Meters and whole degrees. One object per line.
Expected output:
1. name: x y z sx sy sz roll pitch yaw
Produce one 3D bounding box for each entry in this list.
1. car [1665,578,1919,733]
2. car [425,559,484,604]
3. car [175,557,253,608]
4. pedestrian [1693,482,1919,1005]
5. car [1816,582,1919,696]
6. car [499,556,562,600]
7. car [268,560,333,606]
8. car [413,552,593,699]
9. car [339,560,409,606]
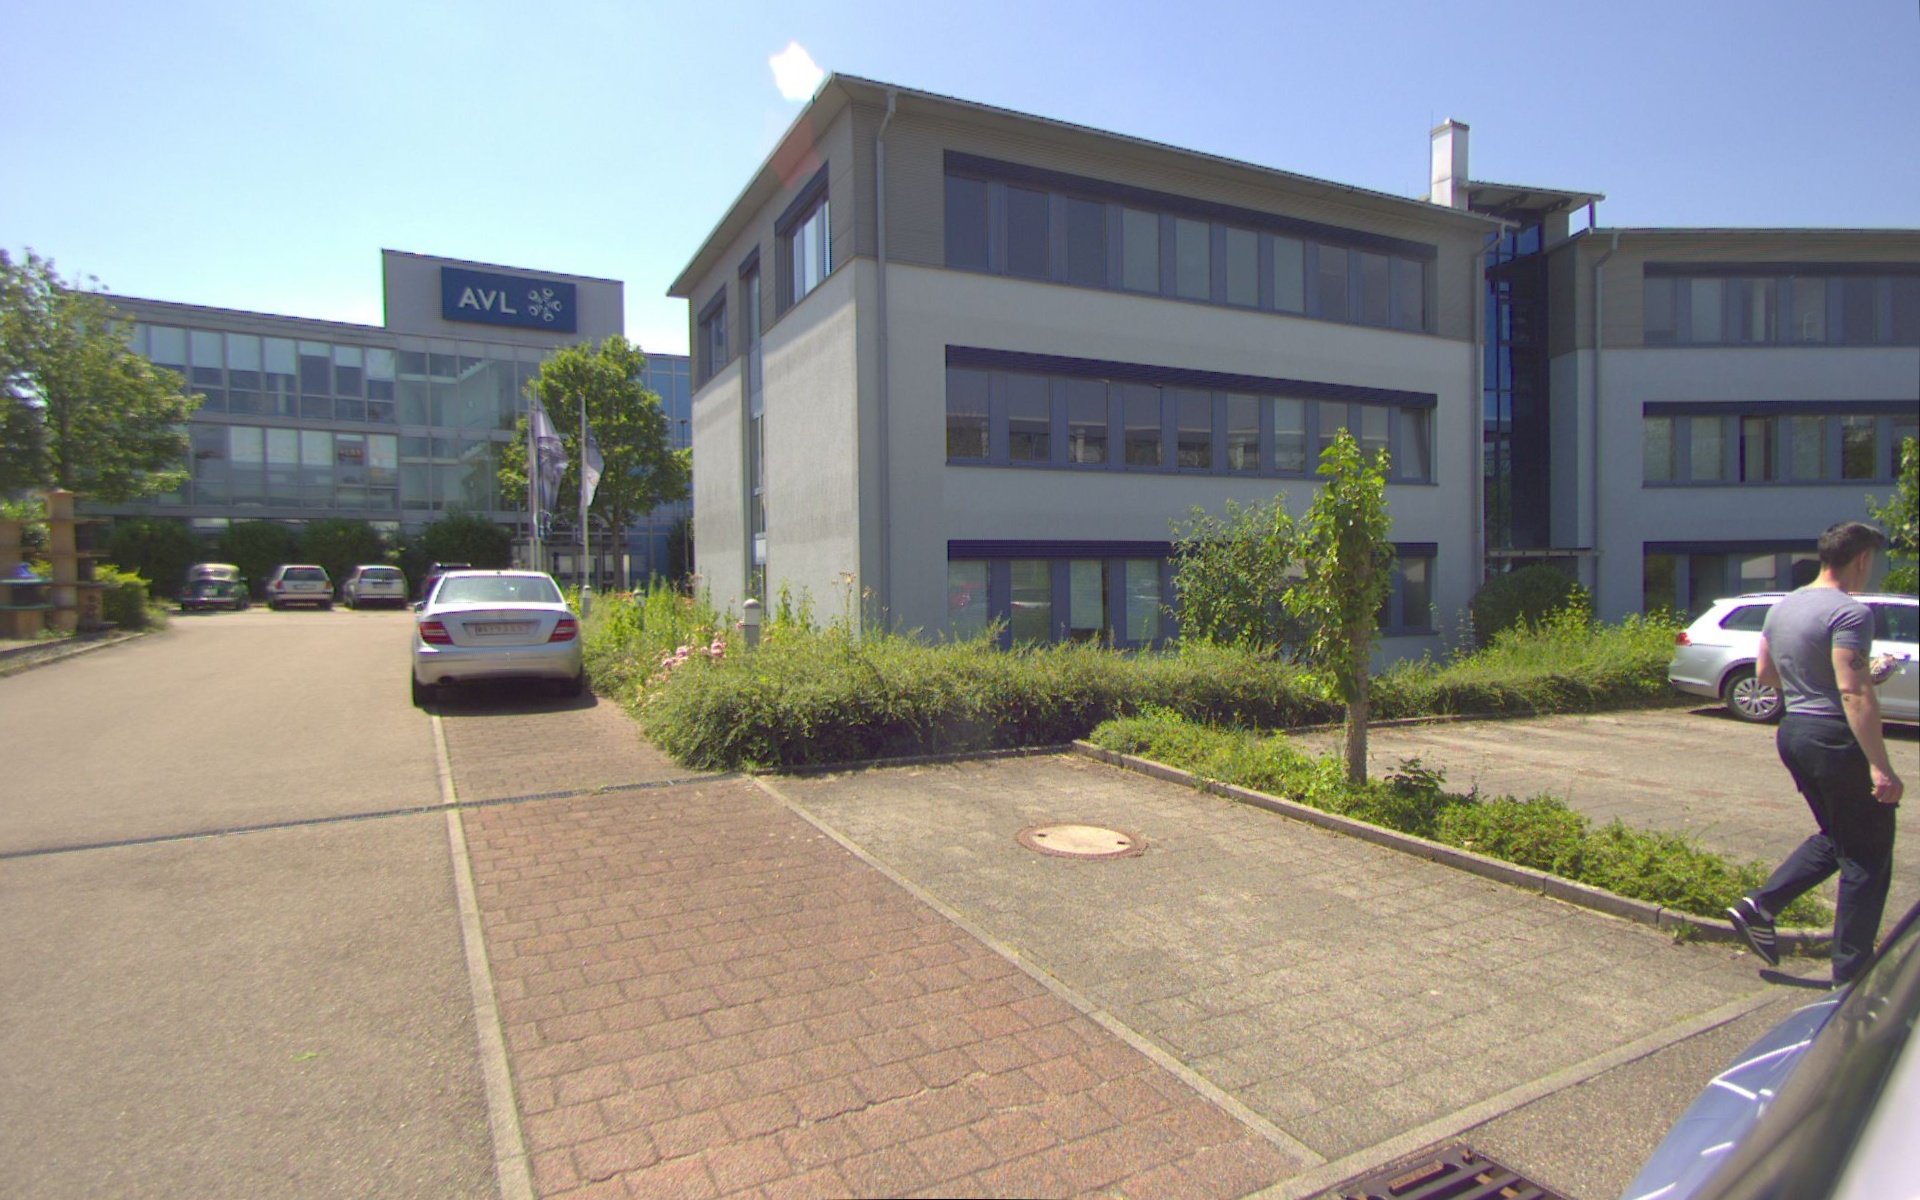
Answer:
1. car: 10.351 0.565 10.586 1.793 1.515 4.526 0 2 -30
2. car: -18.407 -0.654 36.775 1.714 1.538 4.005 0 1 -29
3. car: -24.115 -0.573 32.808 1.715 1.538 4.003 0 1 -32
4. pedestrian: 3.385 0.481 3.889 0.772 1.779 0.620 0 0 -26
5. car: 13.304 0.542 12.498 1.619 1.408 3.832 0 2 -30
6. car: -16.008 -0.799 37.617 1.714 1.538 4.005 0 1 -29
7. car: -22.250 -0.566 34.083 1.643 1.458 3.999 0 1 -36
8. car: -5.537 0.219 12.045 1.695 1.454 3.722 0 1 -28
9. car: -20.717 -0.592 35.710 1.717 1.538 3.999 0 1 -36
